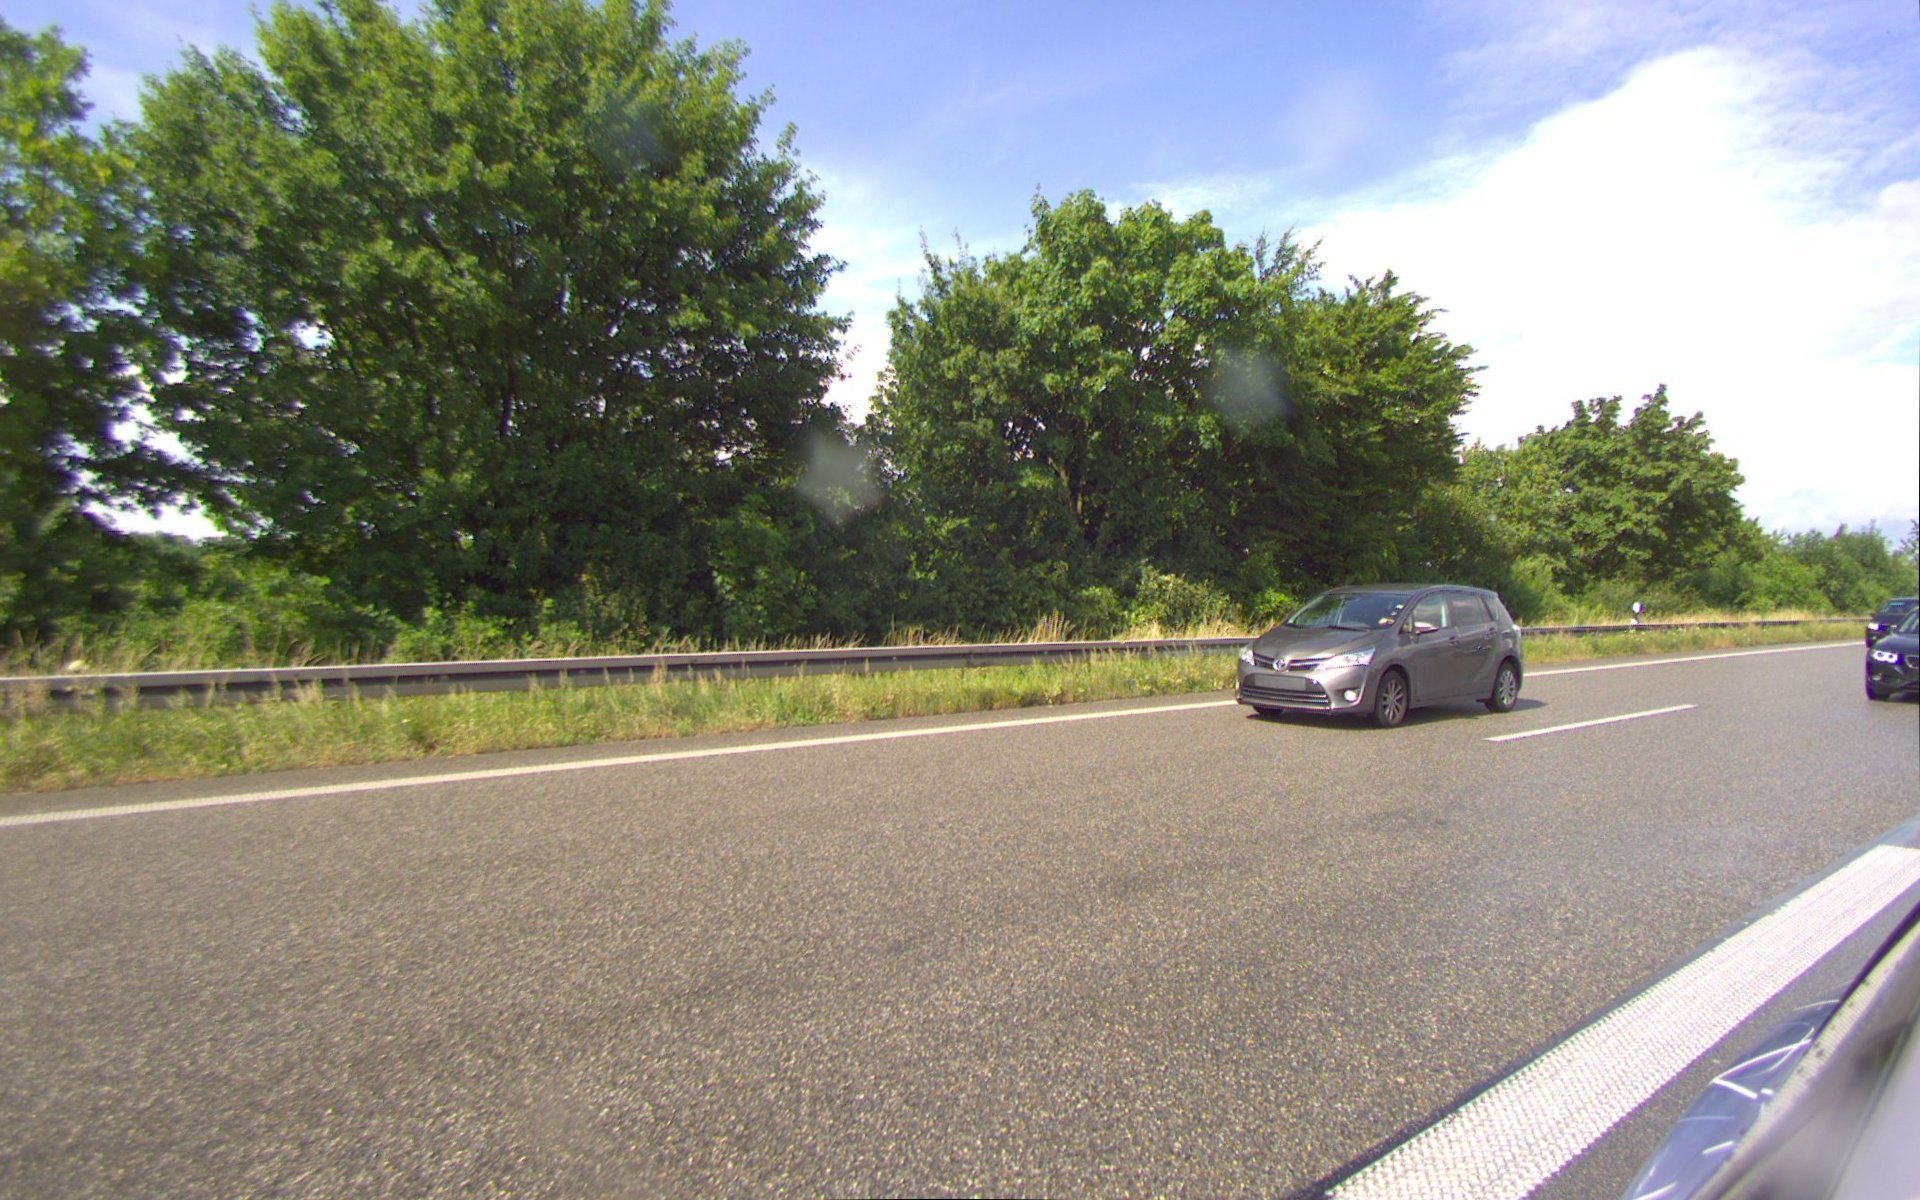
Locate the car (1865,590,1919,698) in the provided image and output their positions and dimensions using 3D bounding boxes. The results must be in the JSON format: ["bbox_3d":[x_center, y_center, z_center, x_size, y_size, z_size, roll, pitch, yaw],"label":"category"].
[{"bbox_3d":[15.260,0.611,15.140,4.178,1.482,1.853,-1,2,-38],"label":"car"}]

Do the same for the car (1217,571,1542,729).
[{"bbox_3d":[5.253,0.497,12.449,4.304,1.633,1.793,0,1,-38],"label":"car"}]

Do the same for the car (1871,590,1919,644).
[{"bbox_3d":[29.719,0.491,31.151,3.927,1.588,1.853,-1,2,-38],"label":"car"}]
